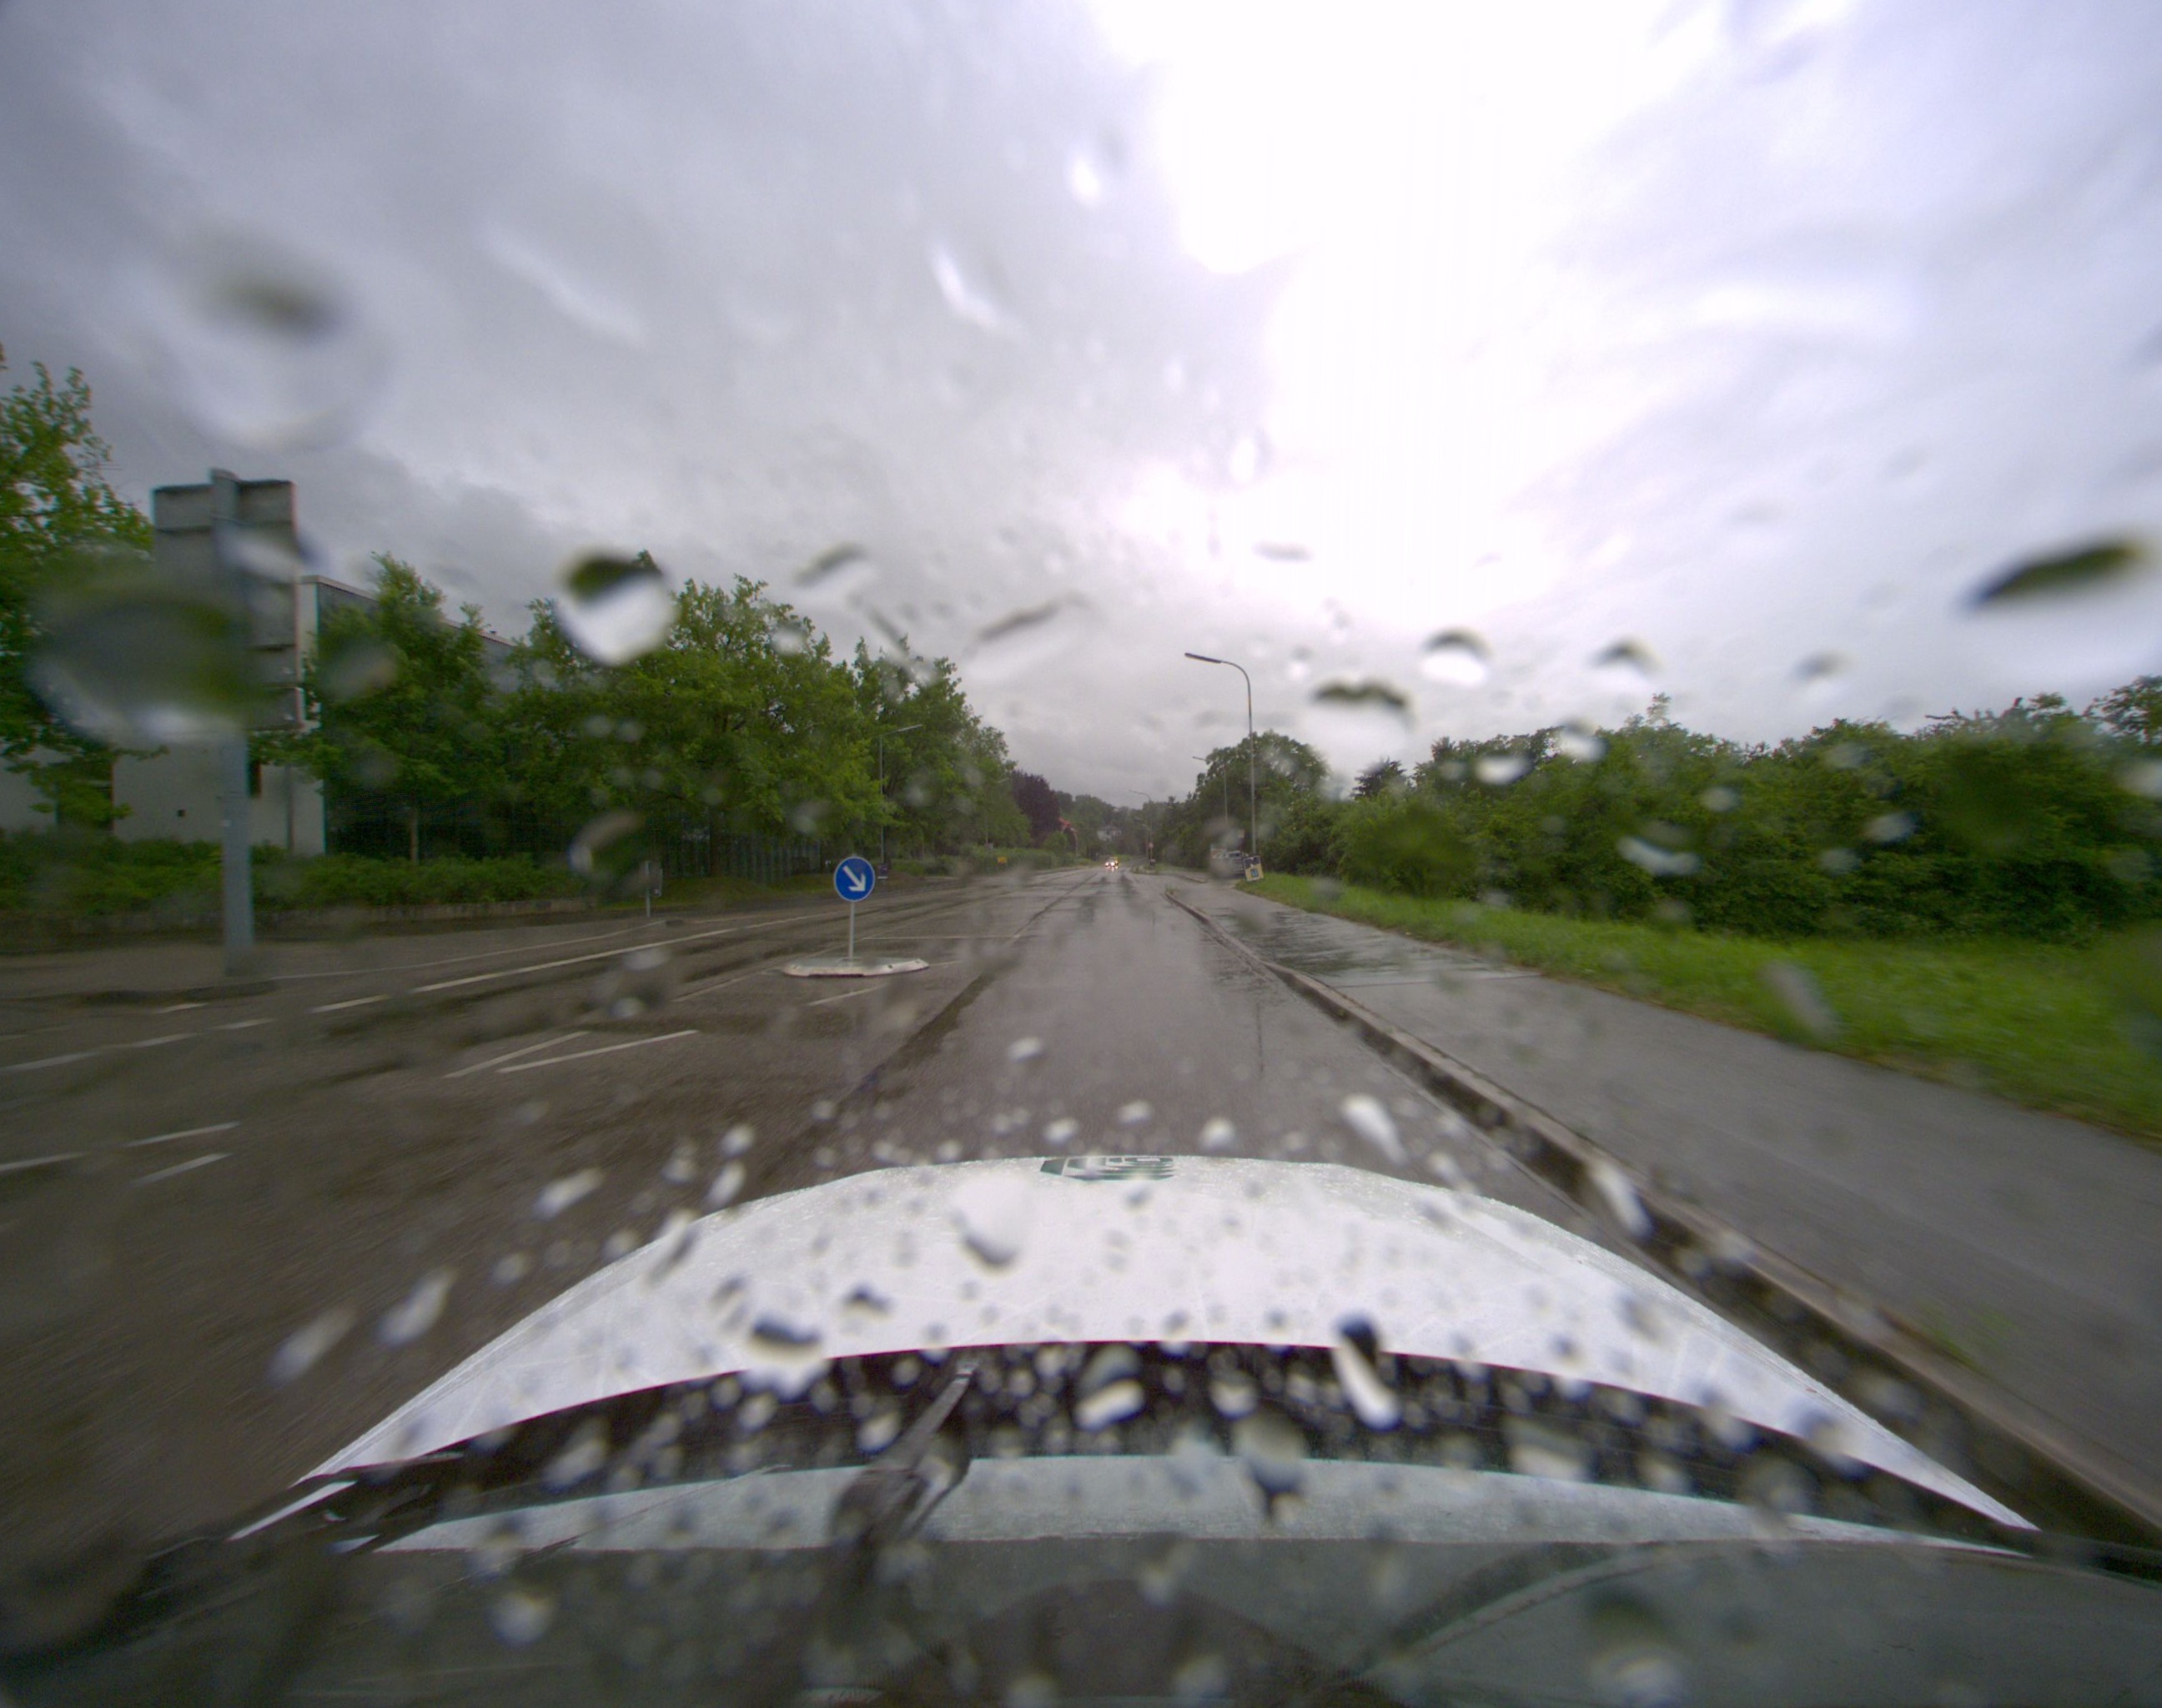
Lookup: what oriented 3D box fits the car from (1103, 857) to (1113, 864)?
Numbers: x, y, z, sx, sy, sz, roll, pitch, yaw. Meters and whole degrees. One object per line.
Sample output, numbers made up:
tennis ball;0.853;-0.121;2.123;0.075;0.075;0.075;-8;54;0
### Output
car;5.151;1.272;156.380;1.694;1.349;3.909;-1;0;3
